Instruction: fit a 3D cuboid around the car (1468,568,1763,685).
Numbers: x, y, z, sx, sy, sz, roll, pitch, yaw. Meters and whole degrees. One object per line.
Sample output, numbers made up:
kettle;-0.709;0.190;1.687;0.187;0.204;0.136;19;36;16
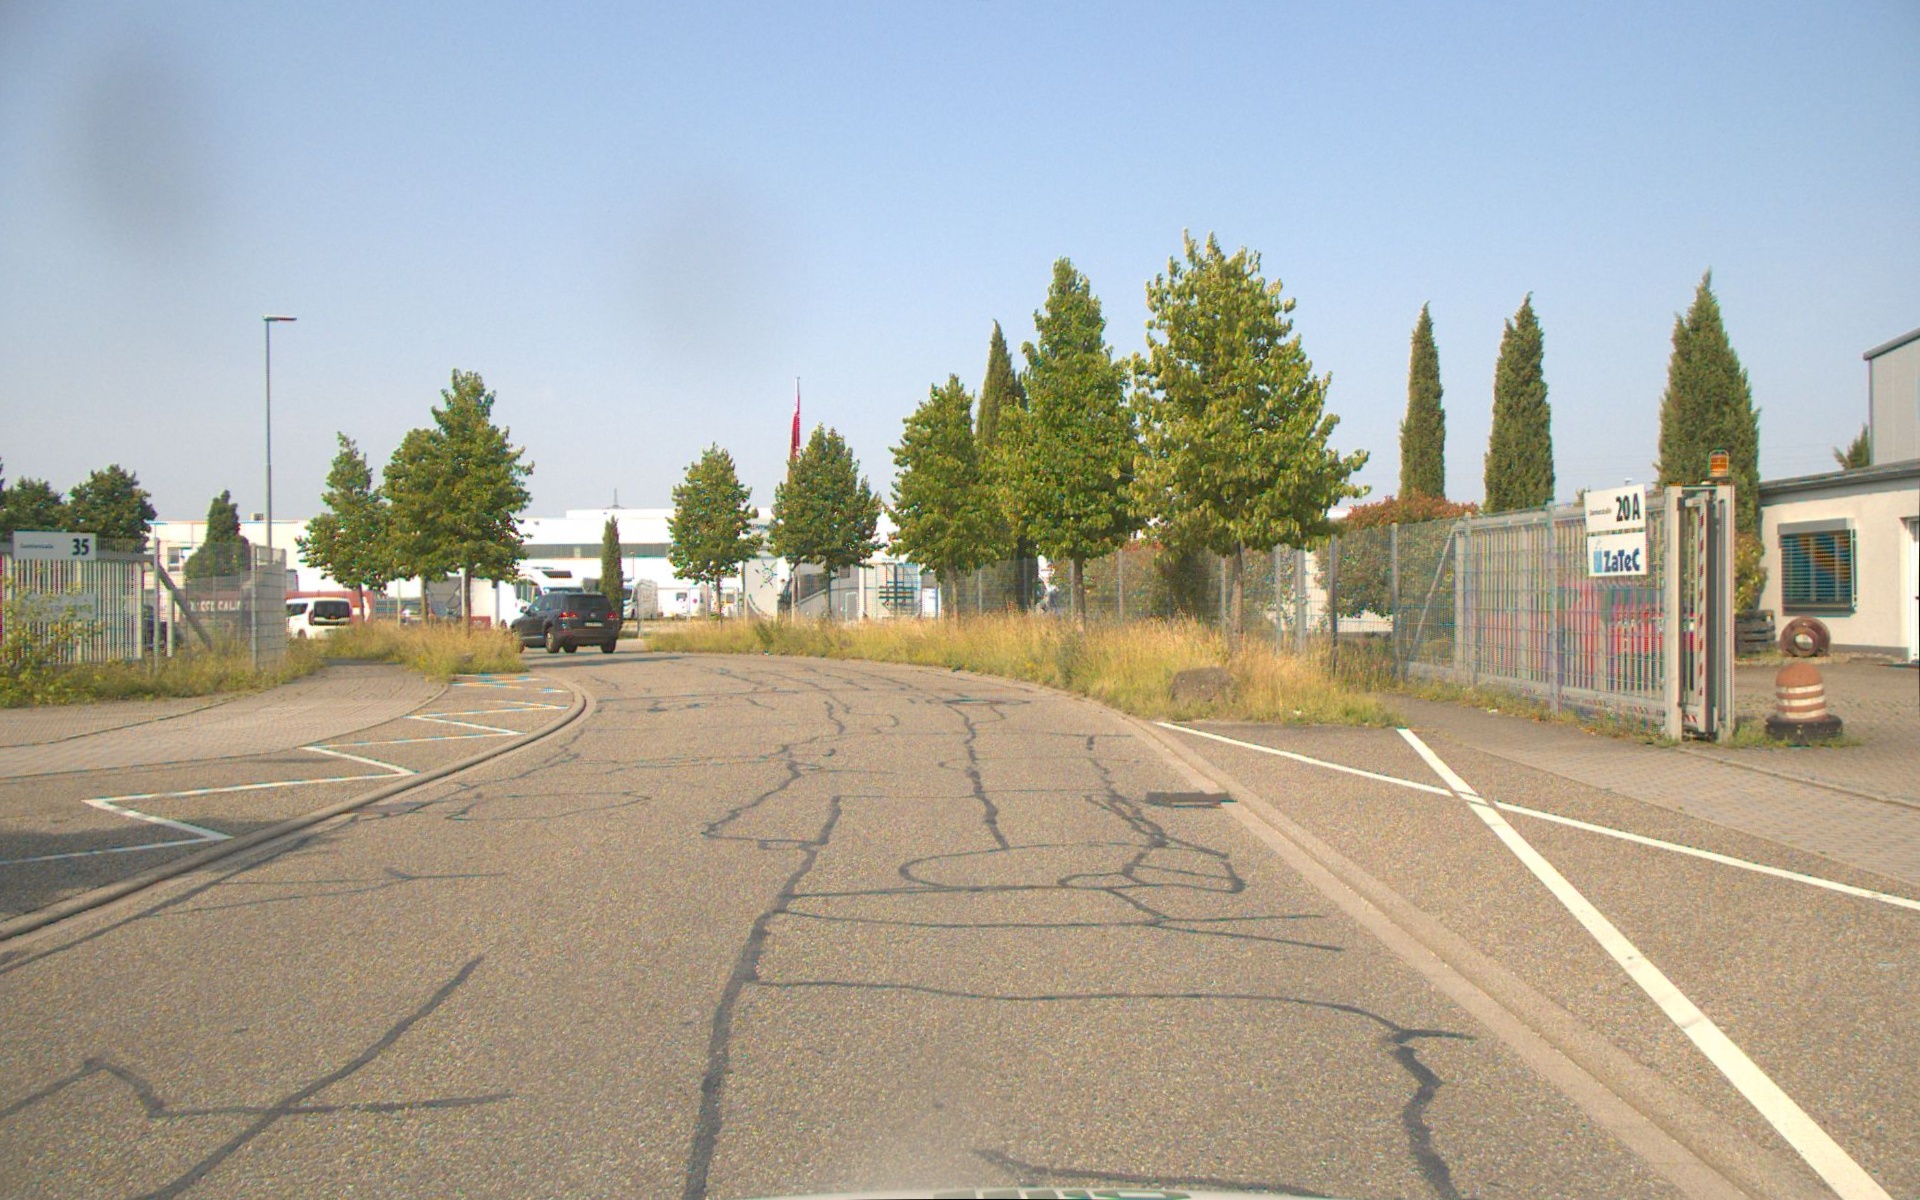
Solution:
car;8.652;0.310;22.357;1.843;1.381;4.770;-1;0;-4

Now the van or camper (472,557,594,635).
van or camper;-17.501;-0.158;67.442;2.314;2.995;6.877;0;0;-38

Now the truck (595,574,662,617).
truck;-20.295;-0.275;101.602;2.400;2.514;8.002;0;0;0

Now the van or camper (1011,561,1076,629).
van or camper;3.670;-0.176;73.945;2.274;2.914;6.606;-1;-1;-2

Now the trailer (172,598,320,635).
trailer;-31.448;0.702;72.586;9.294;1.412;2.614;-1;2;44

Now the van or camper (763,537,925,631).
van or camper;-3.944;-0.472;54.549;2.325;2.898;7.264;0;0;-31

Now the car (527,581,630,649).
car;-10.906;0.412;47.065;1.970;1.836;3.965;-1;0;-27

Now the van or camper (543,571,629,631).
van or camper;-16.752;0.003;74.459;2.432;2.603;6.625;0;1;0

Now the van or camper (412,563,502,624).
van or camper;-26.995;-0.381;89.083;2.607;3.138;6.796;0;1;1

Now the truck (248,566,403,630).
truck;-41.214;-0.149;107.642;9.098;4.042;2.457;0;0;-3

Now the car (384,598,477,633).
car;-23.667;0.682;74.036;2.119;1.502;4.003;-1;0;15

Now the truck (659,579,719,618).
truck;-16.992;-0.109;104.302;2.400;2.305;8.002;0;0;0

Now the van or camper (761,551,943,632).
van or camper;-4.341;-0.344;66.038;7.120;3.085;2.581;-1;0;-7

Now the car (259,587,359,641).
car;-24.098;0.507;61.154;1.984;1.932;4.396;-1;0;-43

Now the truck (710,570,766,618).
truck;-13.911;-0.400;104.283;2.400;2.876;8.002;0;0;0

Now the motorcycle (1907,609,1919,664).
motorcycle;13.751;0.507;22.726;0.523;0.764;1.583;-2;0;-1

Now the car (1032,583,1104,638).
car;3.459;0.323;53.578;1.689;1.672;3.995;1;0;-6
